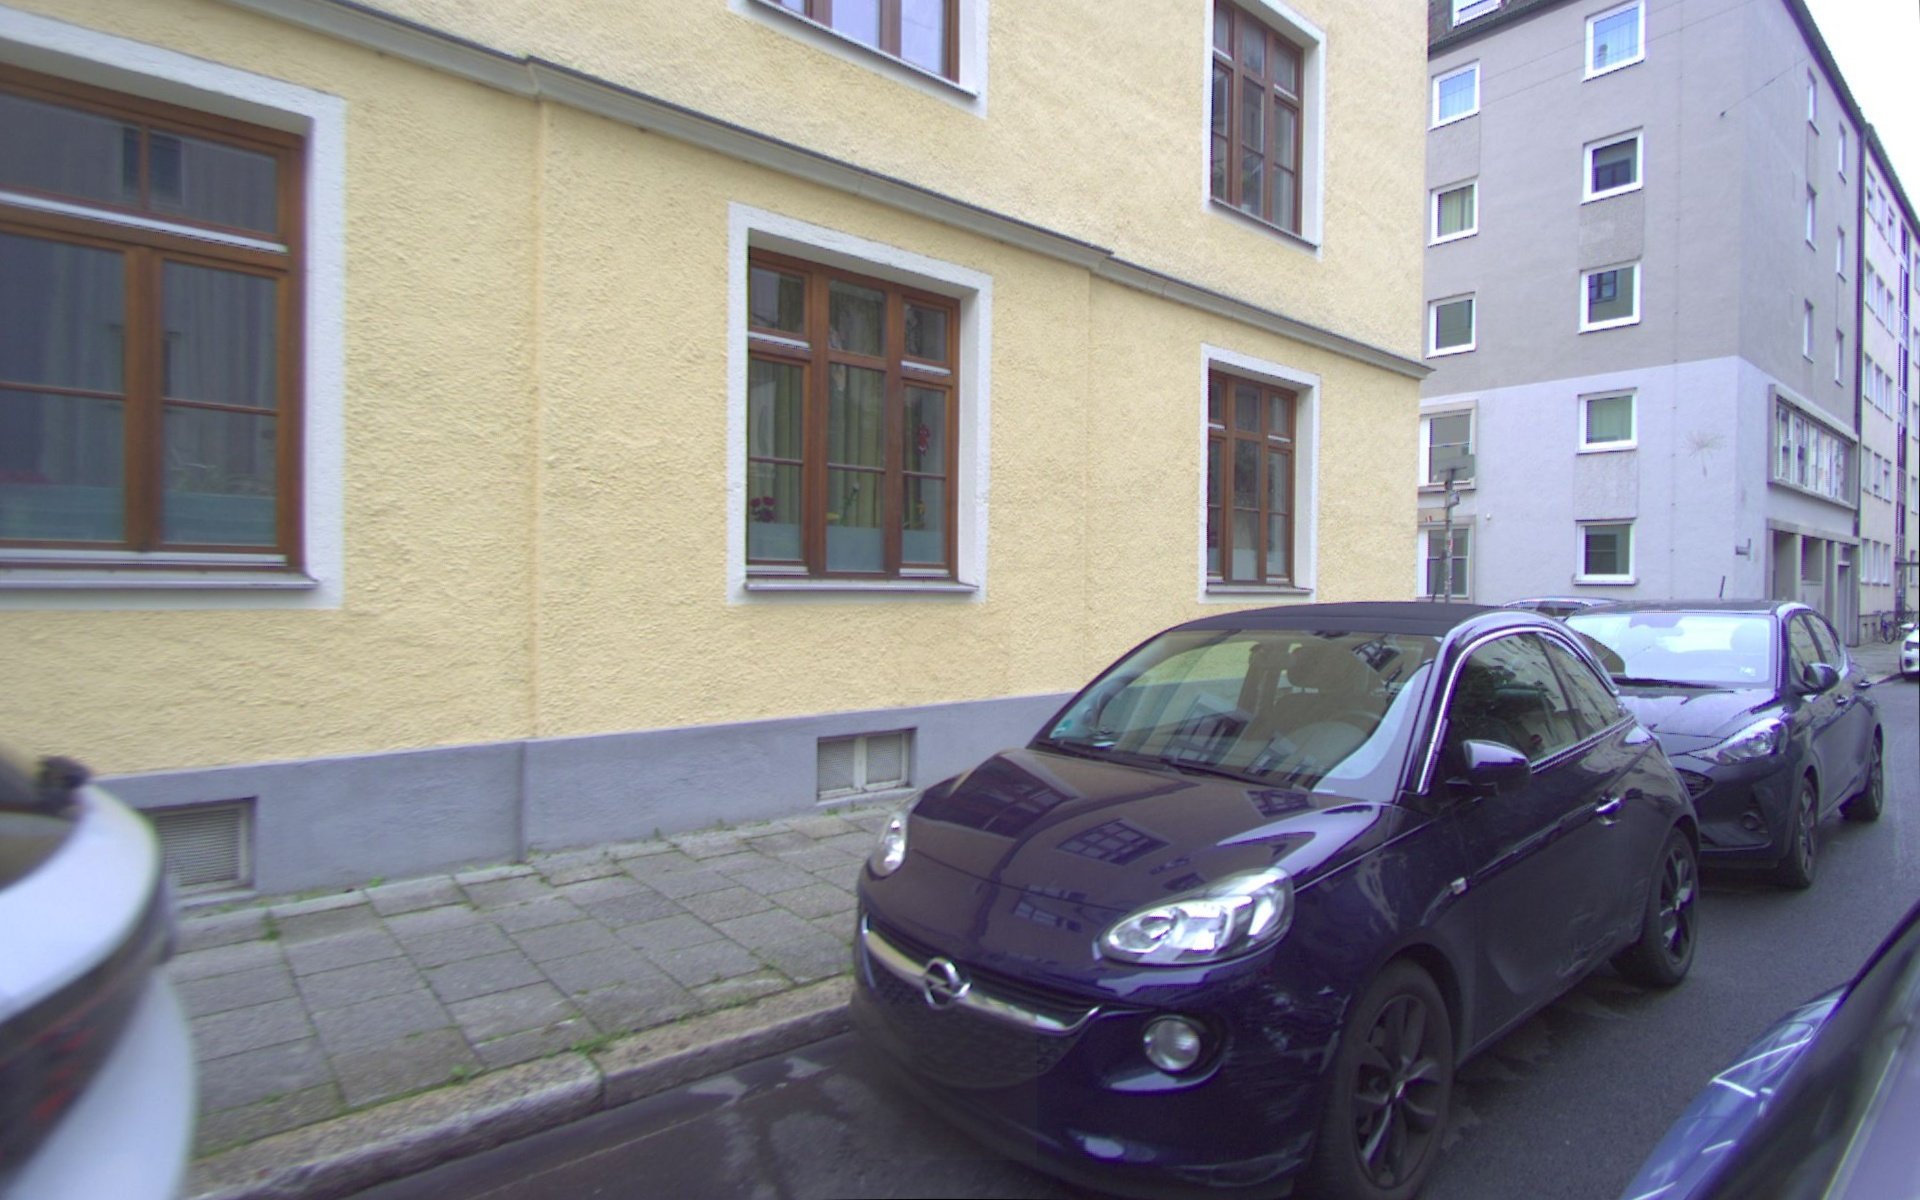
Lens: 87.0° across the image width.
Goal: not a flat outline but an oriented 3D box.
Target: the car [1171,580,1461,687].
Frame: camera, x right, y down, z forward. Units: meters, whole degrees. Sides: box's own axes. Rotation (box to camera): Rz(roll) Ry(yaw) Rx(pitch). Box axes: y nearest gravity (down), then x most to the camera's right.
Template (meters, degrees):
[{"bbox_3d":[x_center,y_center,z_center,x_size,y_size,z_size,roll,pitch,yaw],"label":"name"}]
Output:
[{"bbox_3d":[5.687,0.433,16.591,1.682,1.512,4.219,-1,2,-41],"label":"car"}]

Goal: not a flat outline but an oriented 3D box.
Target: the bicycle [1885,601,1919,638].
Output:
[{"bbox_3d":[29.374,0.606,31.467,1.766,1.041,0.645,-1,5,-41],"label":"bicycle"}]

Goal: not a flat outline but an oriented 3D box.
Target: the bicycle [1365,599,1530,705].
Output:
[{"bbox_3d":[6.201,0.627,12.953,0.496,1.189,1.811,2,1,-41],"label":"bicycle"}]

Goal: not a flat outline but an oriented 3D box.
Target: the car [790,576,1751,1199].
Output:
[{"bbox_3d":[1.429,0.720,3.722,3.753,1.488,1.666,0,-2,-42],"label":"car"}]

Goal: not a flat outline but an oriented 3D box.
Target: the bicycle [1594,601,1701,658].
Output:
[{"bbox_3d":[14.352,0.586,21.180,0.457,1.130,1.800,0,0,-40],"label":"bicycle"}]

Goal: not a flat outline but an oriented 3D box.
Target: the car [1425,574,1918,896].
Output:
[{"bbox_3d":[4.951,0.643,6.781,4.268,1.488,1.753,0,-2,-42],"label":"car"}]

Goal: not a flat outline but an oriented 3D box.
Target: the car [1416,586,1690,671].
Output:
[{"bbox_3d":[11.396,0.496,19.644,1.966,1.417,4.209,2,0,-43],"label":"car"}]

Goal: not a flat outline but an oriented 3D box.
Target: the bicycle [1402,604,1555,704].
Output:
[{"bbox_3d":[6.707,0.673,13.174,0.367,1.153,1.717,2,1,-40],"label":"bicycle"}]

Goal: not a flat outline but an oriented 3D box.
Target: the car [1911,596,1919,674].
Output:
[{"bbox_3d":[19.441,0.627,19.069,3.883,1.426,1.822,0,0,-41],"label":"car"}]

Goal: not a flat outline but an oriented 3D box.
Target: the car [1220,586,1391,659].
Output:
[{"bbox_3d":[7.893,0.485,23.300,1.538,1.454,3.351,6,-3,-40],"label":"car"}]

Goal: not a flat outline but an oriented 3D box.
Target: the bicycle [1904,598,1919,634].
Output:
[{"bbox_3d":[32.088,0.547,33.745,1.730,1.119,0.656,-1,5,-41],"label":"bicycle"}]
